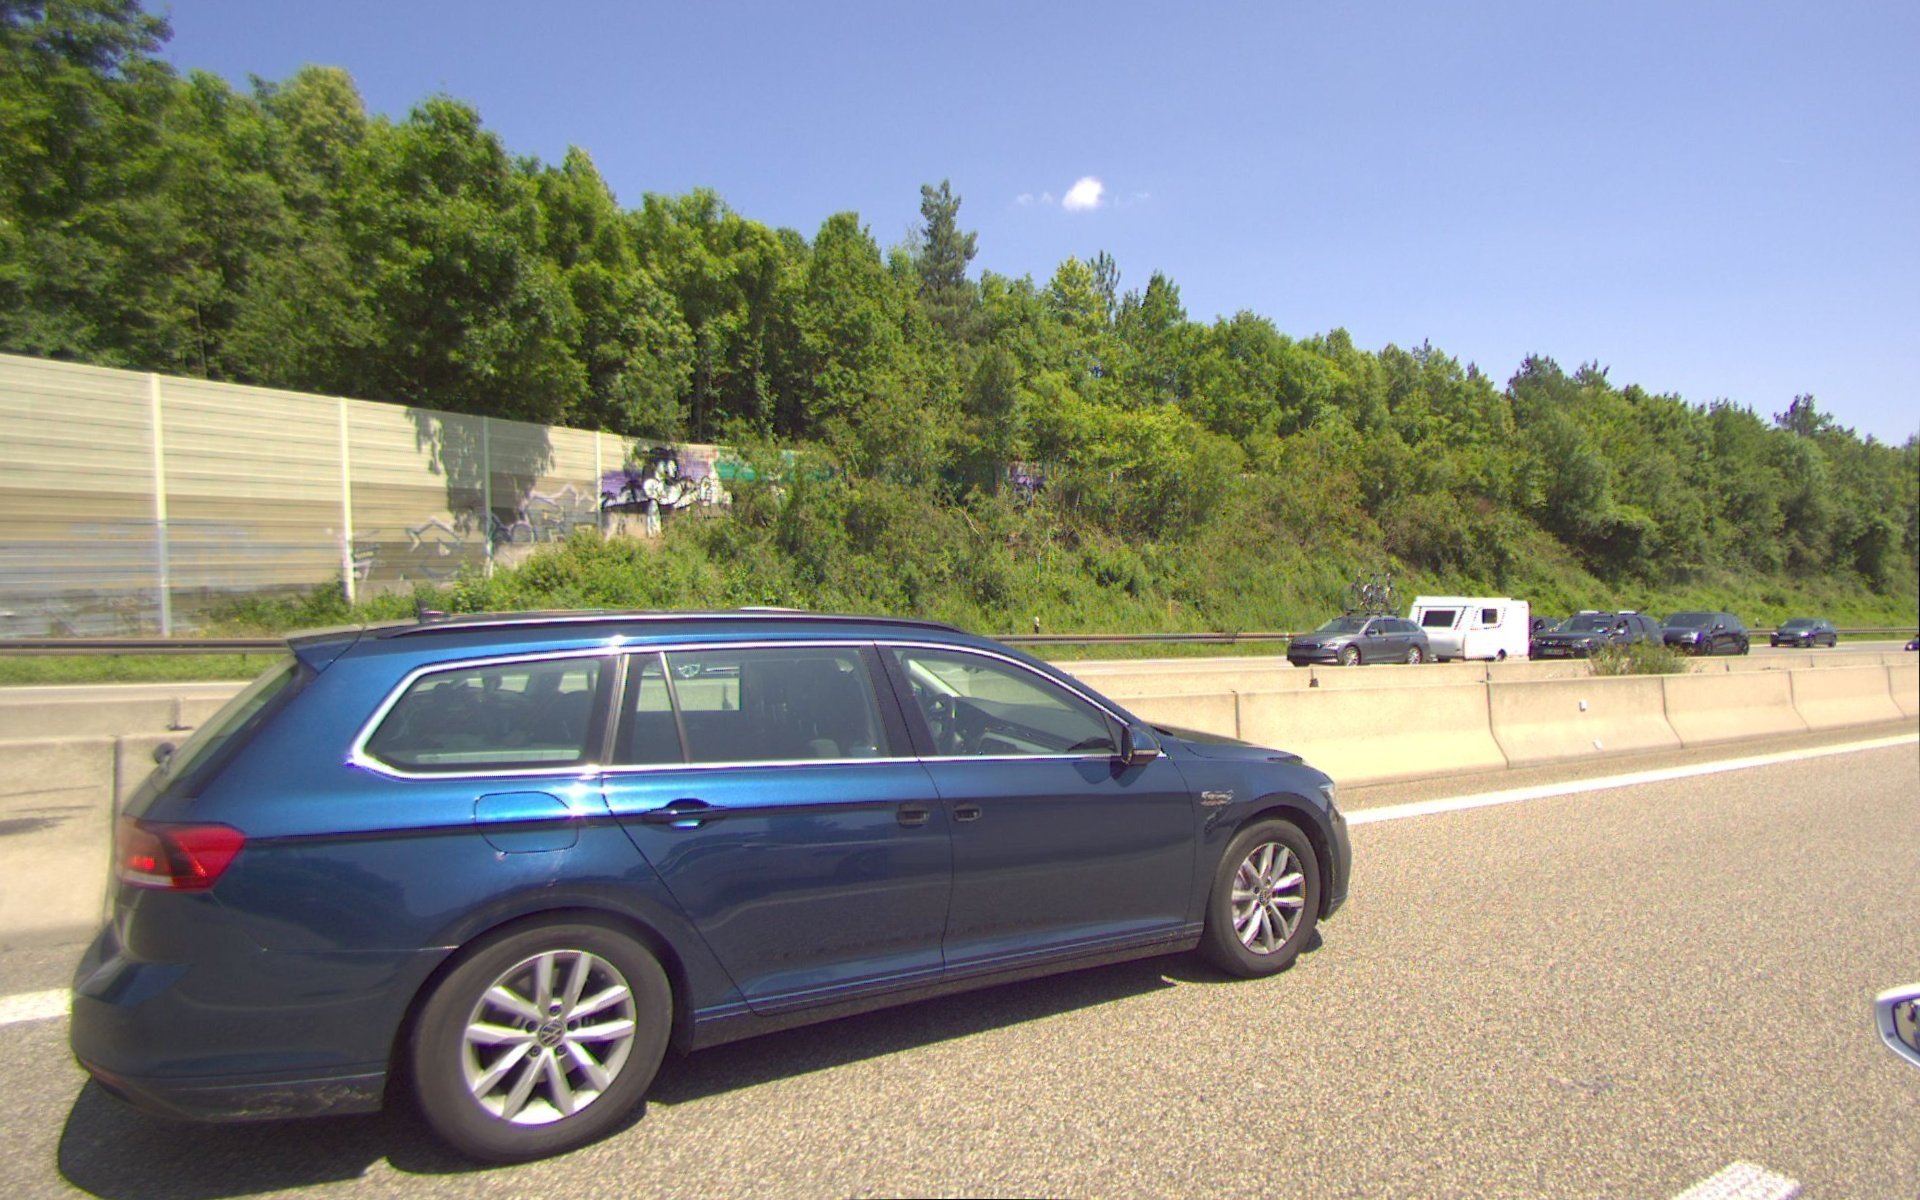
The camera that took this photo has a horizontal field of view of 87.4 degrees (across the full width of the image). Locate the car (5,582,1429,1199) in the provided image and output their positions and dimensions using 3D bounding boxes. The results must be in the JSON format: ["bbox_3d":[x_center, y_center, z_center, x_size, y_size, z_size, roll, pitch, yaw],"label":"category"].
[{"bbox_3d":[-0.363,0.727,4.000,4.675,1.446,1.724,1,0,-31],"label":"car"}]

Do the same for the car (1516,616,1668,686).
[{"bbox_3d":[16.674,1.301,26.462,4.147,1.705,1.684,1,0,-31],"label":"car"}]

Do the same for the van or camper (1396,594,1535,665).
[{"bbox_3d":[15.124,0.861,30.072,3.661,2.003,2.066,1,0,-30],"label":"van or camper"}]

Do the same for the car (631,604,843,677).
[{"bbox_3d":[-4.905,0.875,22.286,4.337,1.481,1.570,1,0,-30],"label":"car"}]

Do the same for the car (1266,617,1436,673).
[{"bbox_3d":[10.629,1.188,27.204,4.668,1.365,1.792,1,0,-31],"label":"car"}]

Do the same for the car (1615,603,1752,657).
[{"bbox_3d":[24.084,0.977,33.396,4.871,1.661,1.915,1,0,-31],"label":"car"}]

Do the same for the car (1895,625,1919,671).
[{"bbox_3d":[31.670,1.538,32.026,4.221,1.394,1.606,1,0,-31],"label":"car"}]
